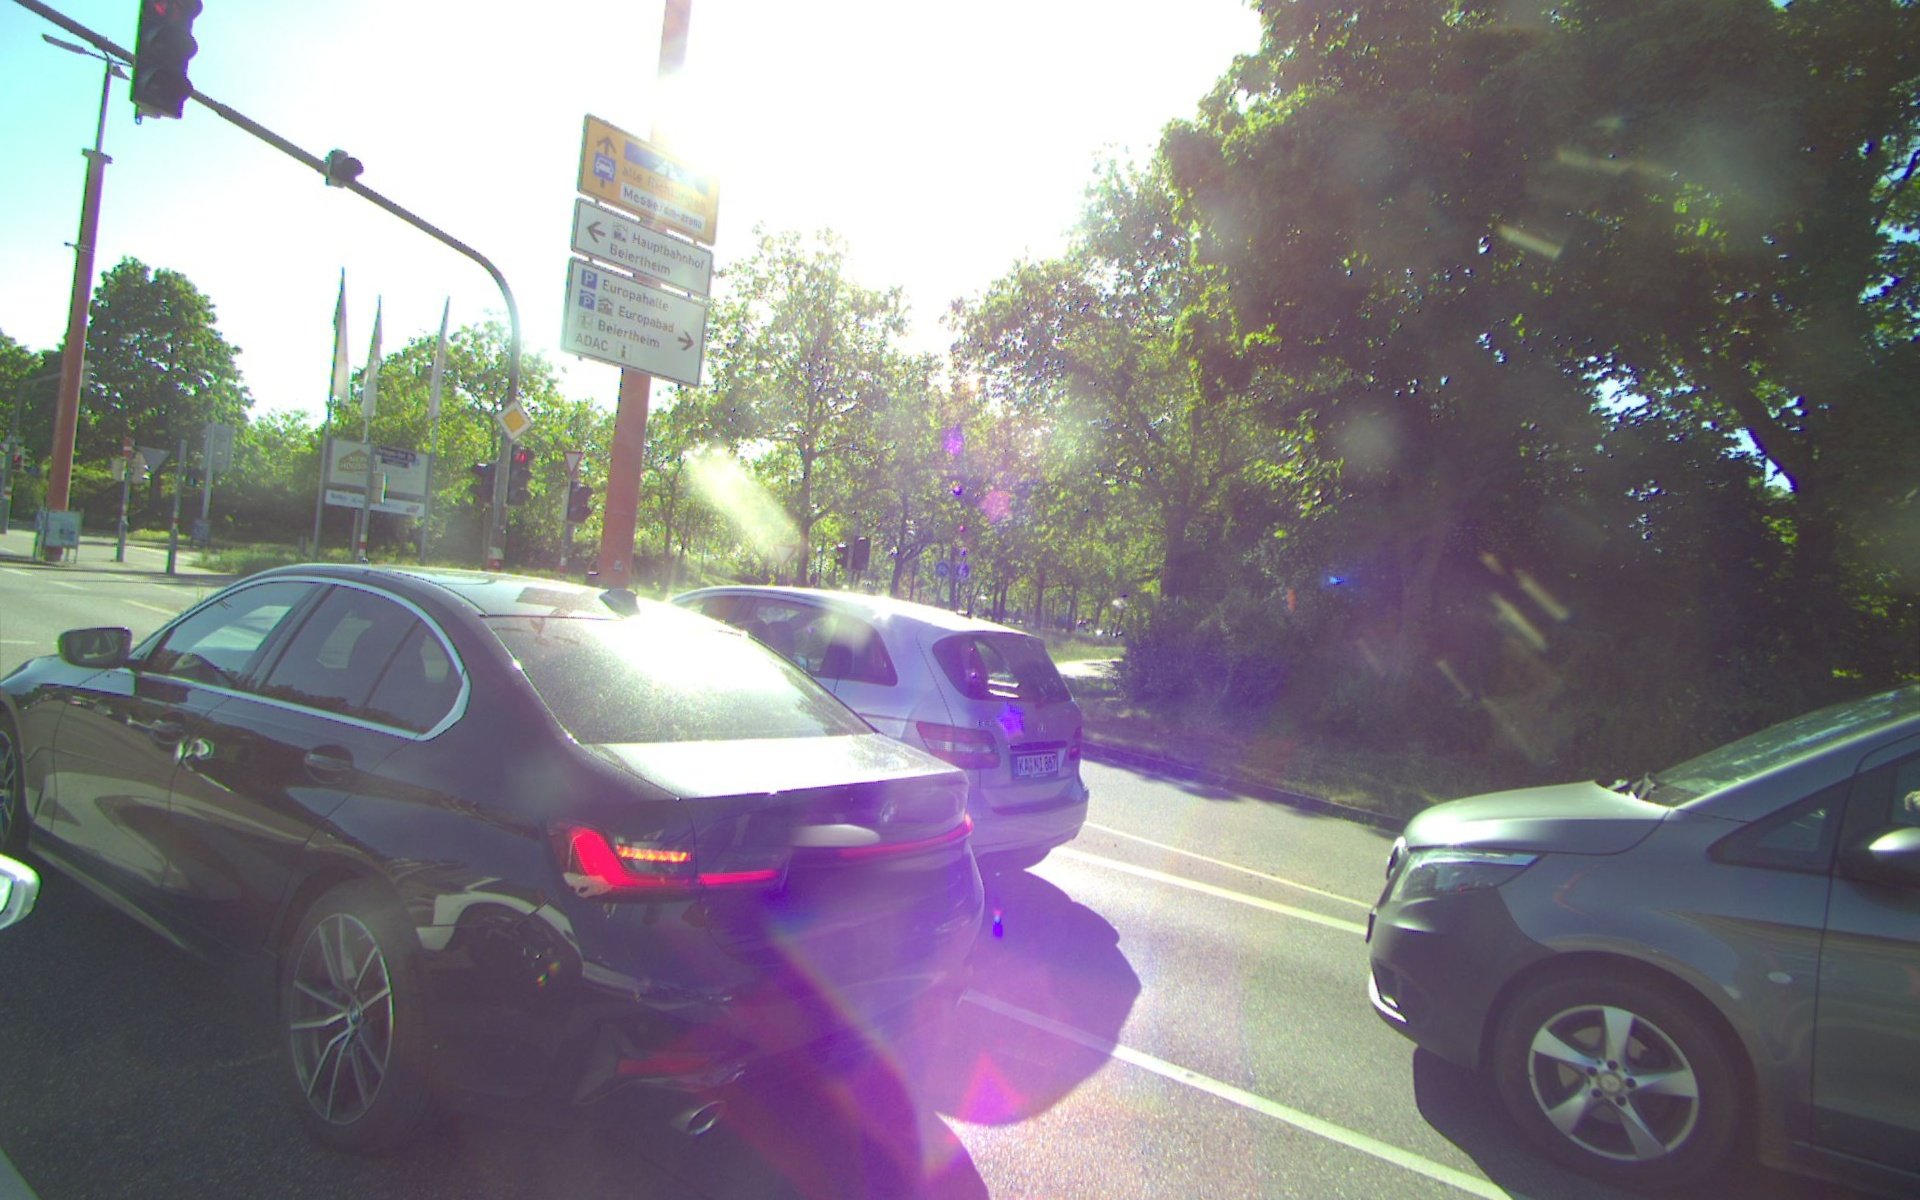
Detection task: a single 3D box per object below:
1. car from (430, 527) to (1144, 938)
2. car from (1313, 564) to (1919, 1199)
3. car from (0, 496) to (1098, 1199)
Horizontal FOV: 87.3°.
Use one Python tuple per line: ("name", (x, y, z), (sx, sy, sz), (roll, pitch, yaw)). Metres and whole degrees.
("car", (-1.280, 0.639, 6.789), (4.403, 1.706, 1.970), (7, -1, 32))
("car", (4.043, 1.143, 3.166), (5.063, 1.916, 1.996), (7, 0, 32))
("car", (-1.959, 0.528, 3.881), (4.403, 1.411, 1.996), (7, 0, 32))
